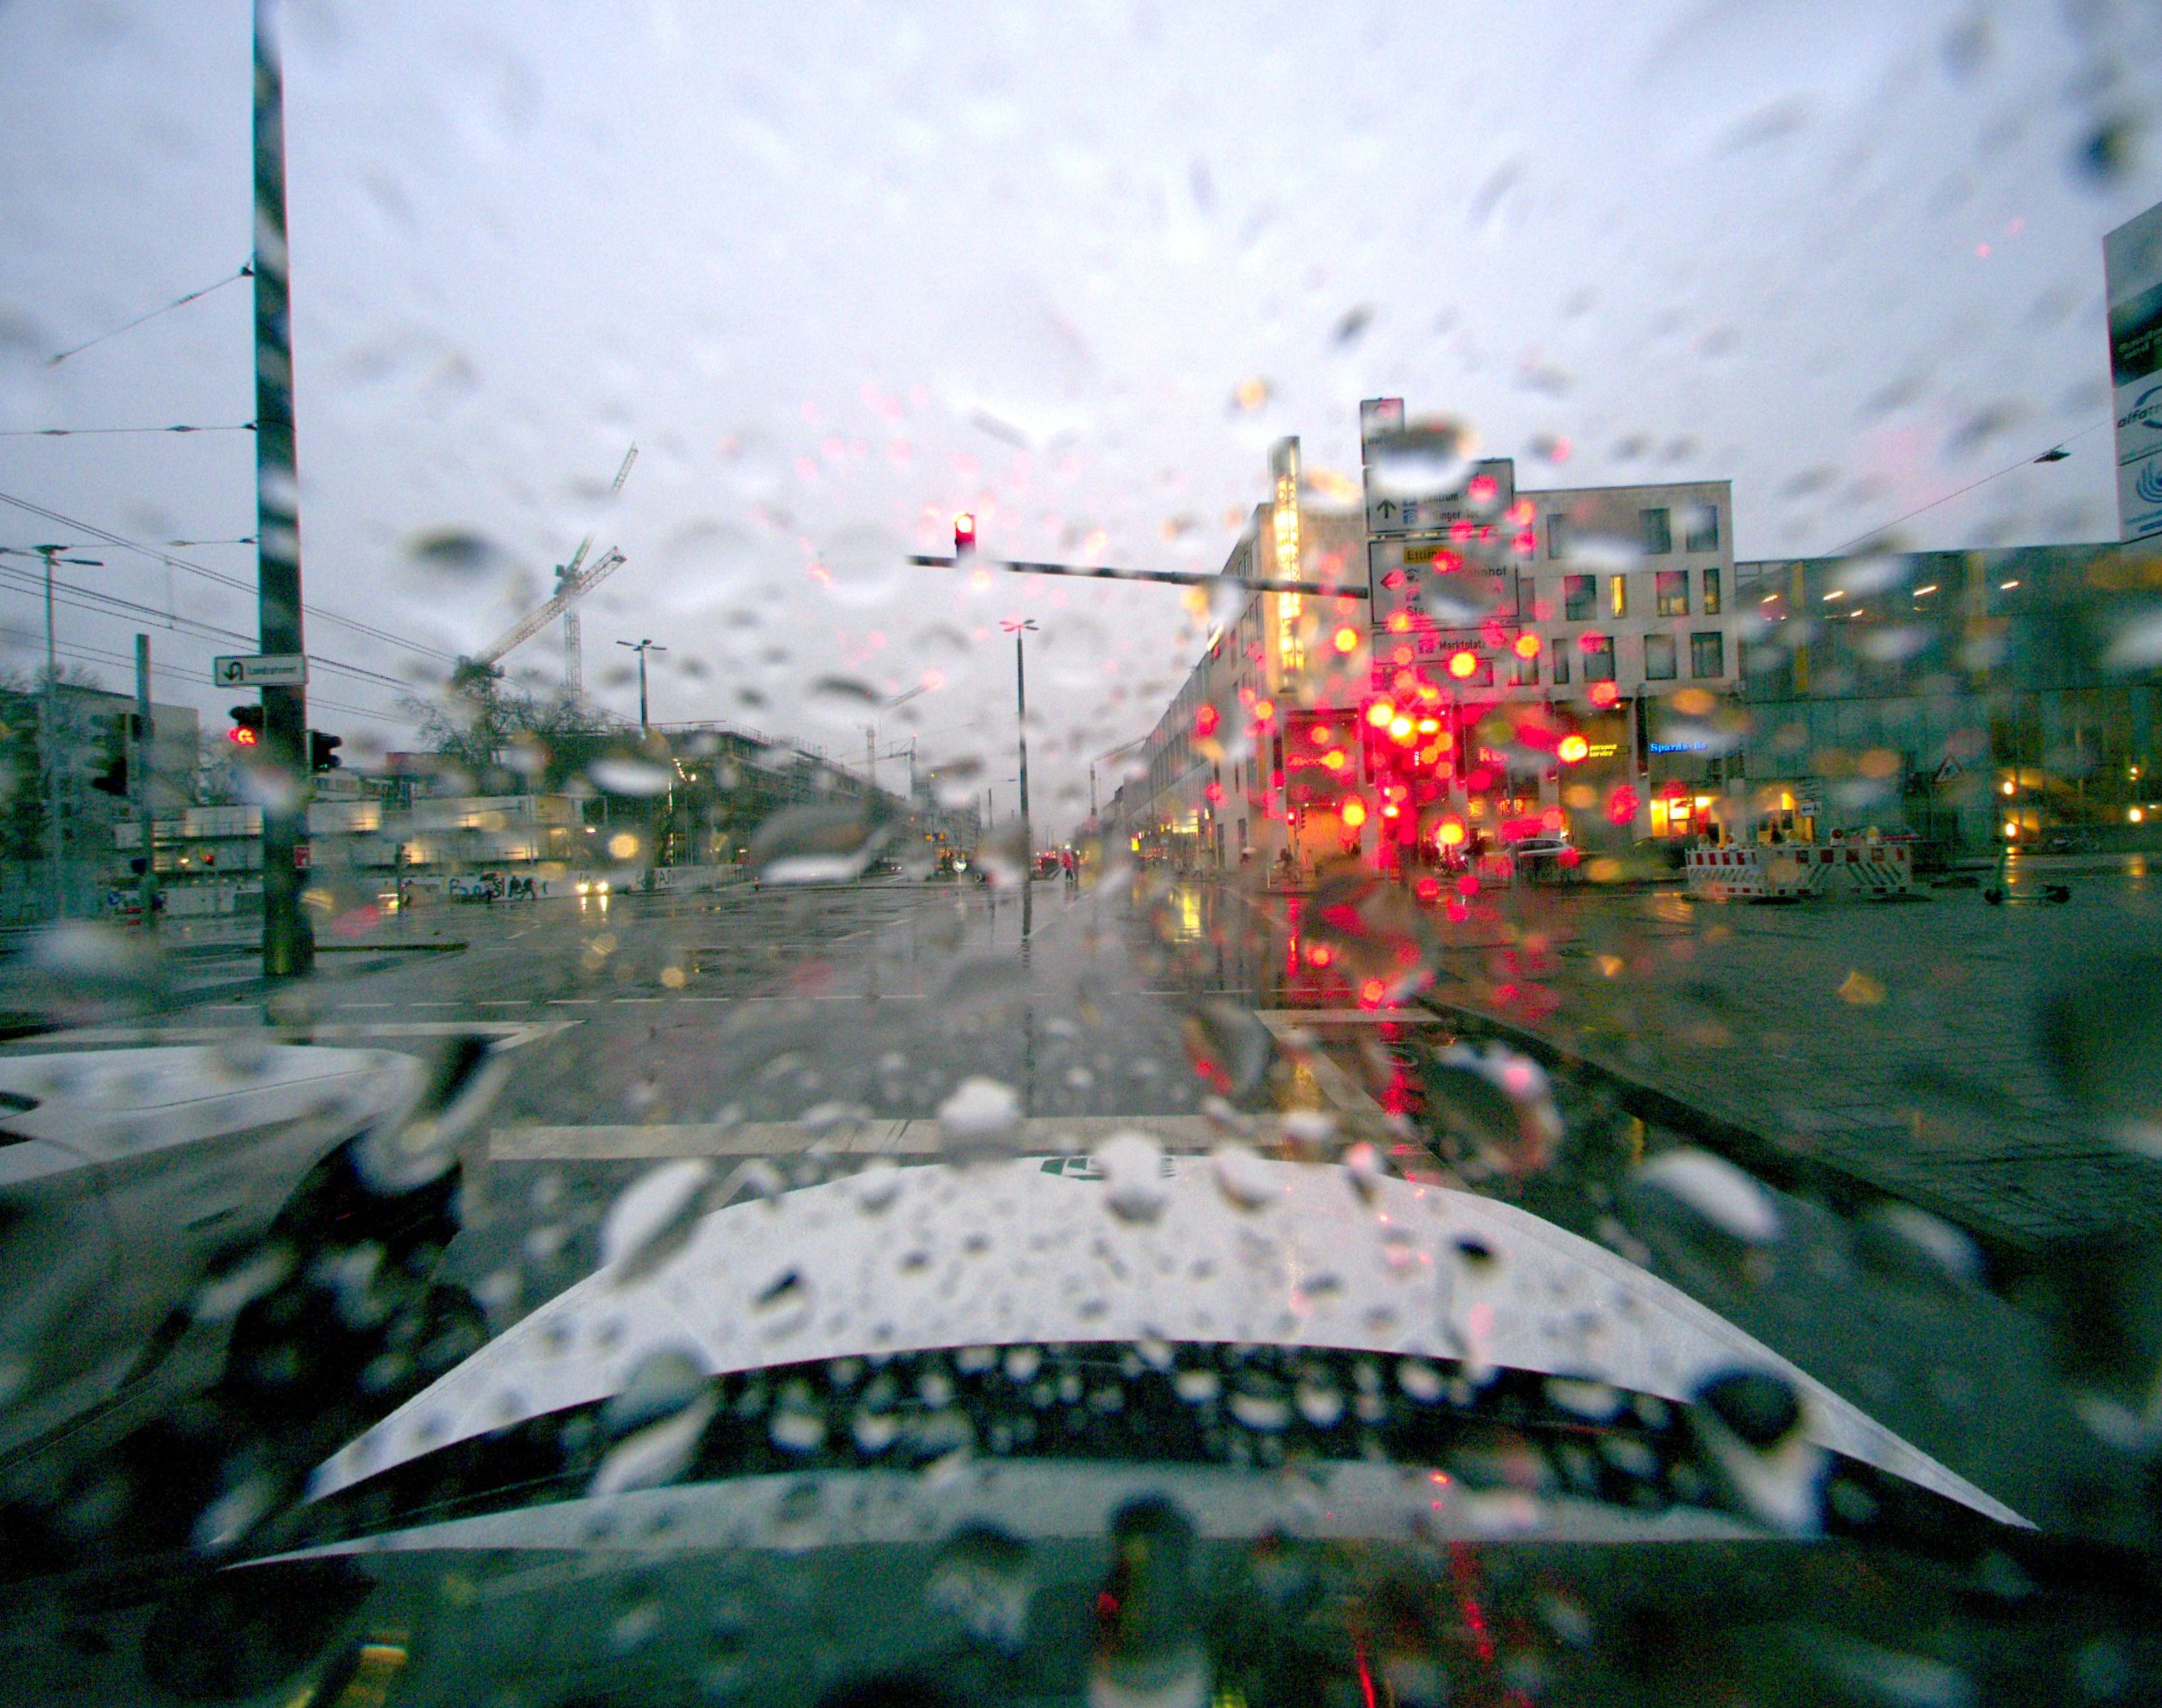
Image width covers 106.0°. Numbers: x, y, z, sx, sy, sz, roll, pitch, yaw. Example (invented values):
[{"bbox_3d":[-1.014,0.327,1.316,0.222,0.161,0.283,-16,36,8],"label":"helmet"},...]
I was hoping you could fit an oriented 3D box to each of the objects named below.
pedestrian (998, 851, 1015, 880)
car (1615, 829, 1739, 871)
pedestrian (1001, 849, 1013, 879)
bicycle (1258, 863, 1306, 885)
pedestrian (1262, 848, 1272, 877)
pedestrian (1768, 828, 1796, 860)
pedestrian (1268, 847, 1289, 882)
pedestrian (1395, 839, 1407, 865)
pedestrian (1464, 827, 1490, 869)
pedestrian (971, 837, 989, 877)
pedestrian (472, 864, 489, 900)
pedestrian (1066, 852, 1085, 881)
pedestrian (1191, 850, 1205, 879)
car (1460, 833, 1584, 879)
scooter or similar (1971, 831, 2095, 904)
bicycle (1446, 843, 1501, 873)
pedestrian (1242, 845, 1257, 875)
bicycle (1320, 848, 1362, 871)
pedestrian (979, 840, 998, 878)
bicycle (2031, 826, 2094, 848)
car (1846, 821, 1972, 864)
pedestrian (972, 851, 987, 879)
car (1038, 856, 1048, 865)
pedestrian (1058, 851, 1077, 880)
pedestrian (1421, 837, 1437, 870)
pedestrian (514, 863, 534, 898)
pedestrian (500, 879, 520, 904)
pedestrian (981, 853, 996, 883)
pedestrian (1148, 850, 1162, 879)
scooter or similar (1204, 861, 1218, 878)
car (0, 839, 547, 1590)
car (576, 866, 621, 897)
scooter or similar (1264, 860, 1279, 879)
[{"bbox_3d":[-4.222,0.672,46.306,0.806,1.607,0.746,-2,-1,1],"label":"pedestrian"},{"bbox_3d":[25.253,-0.139,34.582,4.037,1.582,1.676,-2,-1,-1],"label":"car"},{"bbox_3d":[-4.408,0.618,48.611,0.617,1.746,0.612,-2,-1,-4],"label":"pedestrian"},{"bbox_3d":[9.429,0.947,38.259,2.119,0.991,0.542,-1,-1,3],"label":"bicycle"},{"bbox_3d":[11.552,0.535,50.610,0.510,1.760,0.374,-2,-1,1],"label":"pedestrian"},{"bbox_3d":[36.131,-0.515,41.970,0.791,1.631,0.709,-1,-1,1],"label":"pedestrian"},{"bbox_3d":[9.265,0.494,38.269,0.811,1.570,0.537,-2,-1,3],"label":"pedestrian"},{"bbox_3d":[20.923,-0.130,53.270,0.530,1.718,0.505,-3,-1,39],"label":"pedestrian"},{"bbox_3d":[15.558,-0.231,31.998,0.774,1.595,0.616,-2,-1,17],"label":"pedestrian"},{"bbox_3d":[-5.444,0.163,43.914,0.691,2.087,0.606,-2,-1,-38],"label":"pedestrian"},{"bbox_3d":[-33.870,1.591,45.951,0.507,2.014,0.638,-3,-3,-9],"label":"pedestrian"},{"bbox_3d":[-0.331,0.731,48.024,0.835,1.688,0.681,-2,-1,22],"label":"pedestrian"},{"bbox_3d":[6.886,0.616,47.929,0.736,1.667,0.402,-2,-1,13],"label":"pedestrian"},{"bbox_3d":[18.659,0.076,34.612,4.283,1.761,1.709,-2,0,4],"label":"car"},{"bbox_3d":[15.762,0.217,13.526,0.603,1.130,1.236,-2,0,2],"label":"scooter or similar"},{"bbox_3d":[15.433,0.171,32.032,1.831,1.093,0.620,-2,-1,16],"label":"bicycle"},{"bbox_3d":[9.892,0.356,47.915,0.700,1.760,0.668,-2,-1,1],"label":"pedestrian"},{"bbox_3d":[16.197,0.345,50.717,2.420,1.329,0.634,-2,0,-4],"label":"bicycle"},{"bbox_3d":[-5.068,0.281,44.795,0.781,2.013,0.606,-2,-1,-37],"label":"pedestrian"},{"bbox_3d":[48.647,-0.818,40.387,0.613,1.033,2.138,-2,0,3],"label":"bicycle"},{"bbox_3d":[34.677,-0.460,34.178,3.558,1.582,1.676,-2,-1,-1],"label":"car"},{"bbox_3d":[-5.907,0.628,47.443,0.704,1.619,0.681,-2,-1,3],"label":"pedestrian"},{"bbox_3d":[-7.737,1.359,166.020,1.881,1.783,3.715,-1,-1,2],"label":"car"},{"bbox_3d":[-0.783,0.665,47.448,0.823,1.679,0.623,-2,-1,22],"label":"pedestrian"},{"bbox_3d":[18.091,-0.047,42.341,0.530,1.685,0.552,-3,-1,39],"label":"pedestrian"},{"bbox_3d":[-32.374,1.523,47.327,0.752,2.013,0.785,-2,-1,-45],"label":"pedestrian"},{"bbox_3d":[-36.876,2.426,52.600,0.641,1.529,0.798,-3,-1,7],"label":"pedestrian"},{"bbox_3d":[-5.242,0.789,46.016,0.704,1.619,0.613,-2,-1,-1],"label":"pedestrian"},{"bbox_3d":[4.439,0.629,48.981,0.700,1.760,0.652,-2,-1,1],"label":"pedestrian"},{"bbox_3d":[7.618,0.917,47.760,0.736,0.993,0.402,-2,-1,13],"label":"scooter or similar"},{"bbox_3d":[-3.173,0.762,0.841,1.903,1.520,4.924,-2,0,1],"label":"car"},{"bbox_3d":[-33.619,1.855,56.849,1.760,2.013,3.977,-2,0,-17],"label":"car"},{"bbox_3d":[10.850,0.881,46.346,0.738,0.993,0.401,-2,-1,3],"label":"scooter or similar"}]
